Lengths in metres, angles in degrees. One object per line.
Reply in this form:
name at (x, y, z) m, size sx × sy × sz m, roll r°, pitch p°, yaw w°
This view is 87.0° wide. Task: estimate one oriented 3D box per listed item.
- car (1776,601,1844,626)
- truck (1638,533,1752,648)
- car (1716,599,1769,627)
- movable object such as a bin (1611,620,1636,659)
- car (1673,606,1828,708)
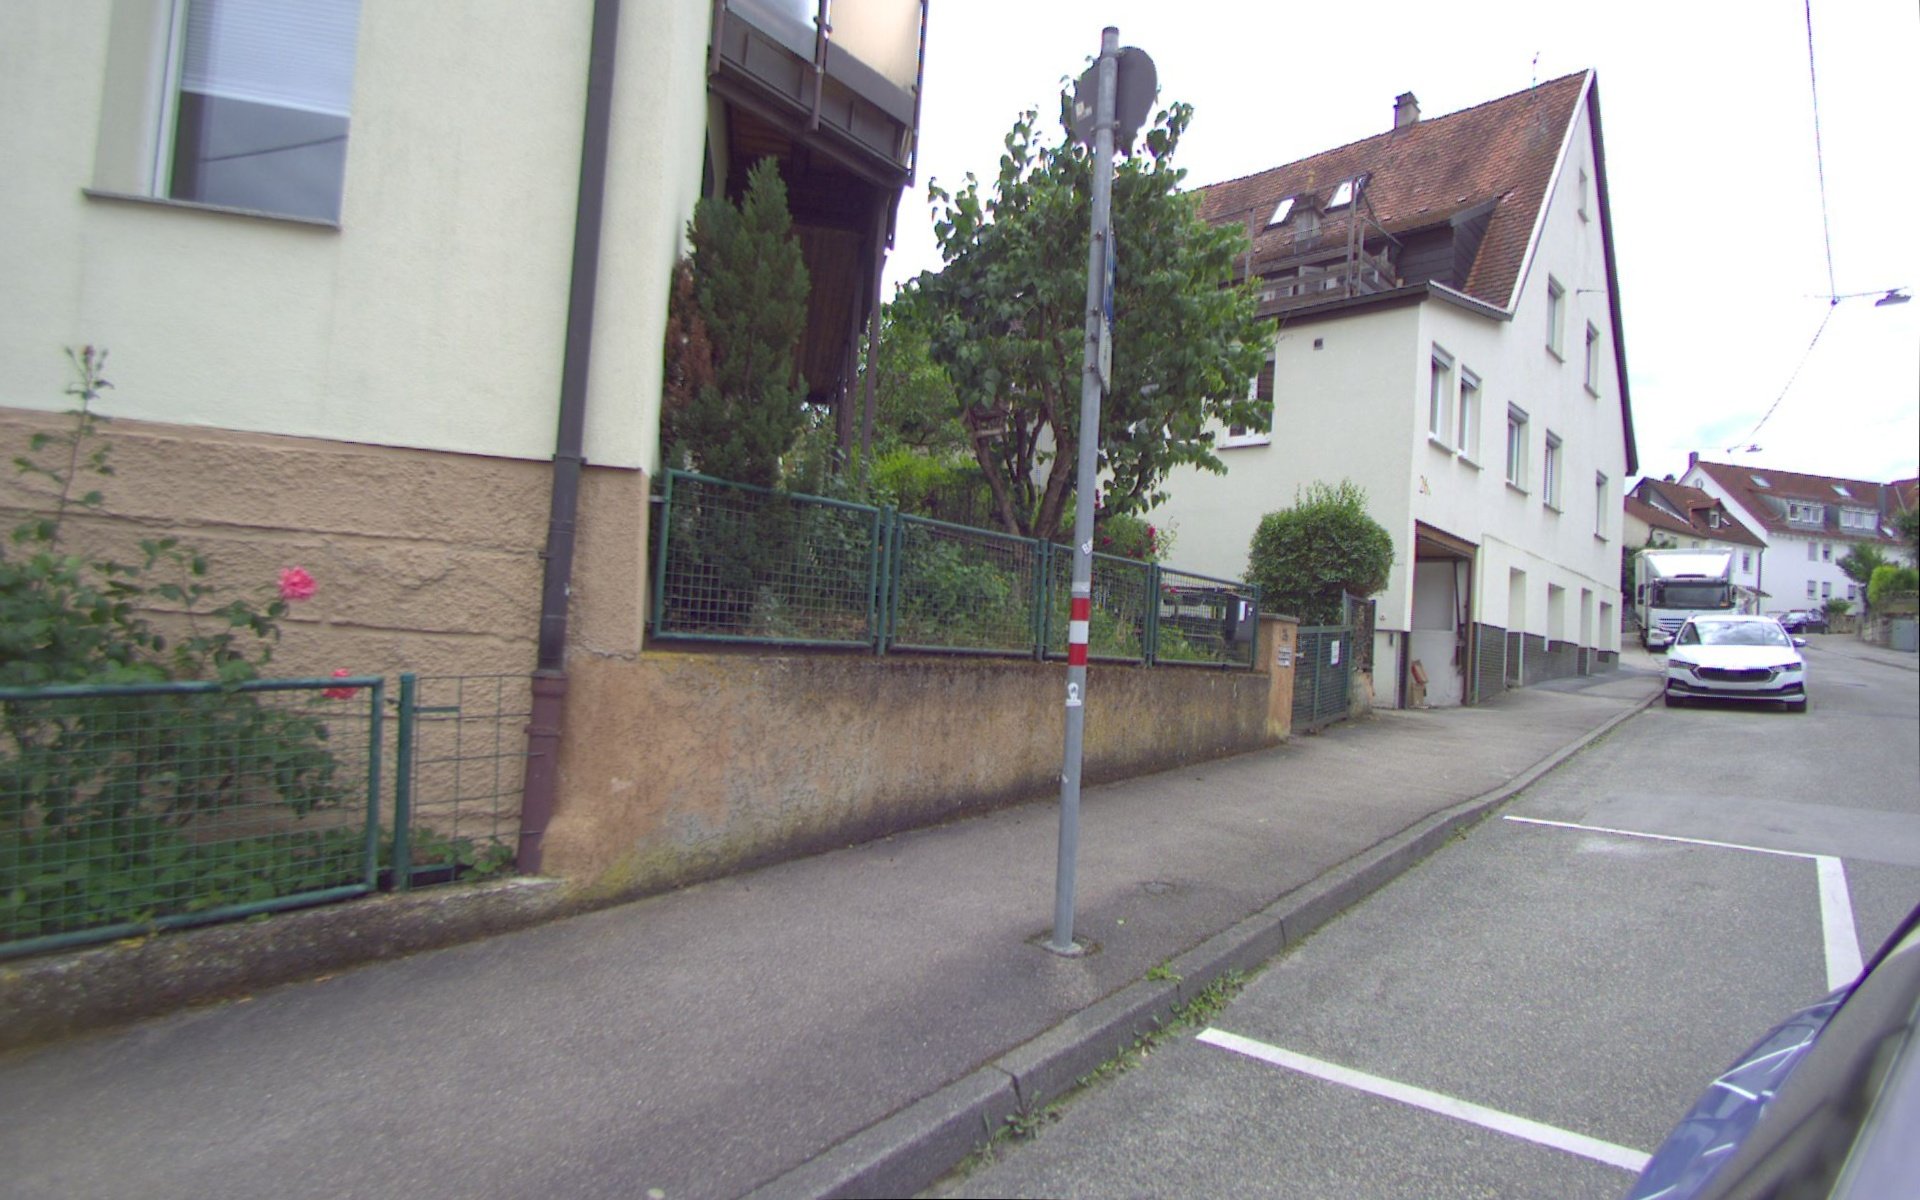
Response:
car at (52.452, 0.857, 62.441) m, size 3.920 × 1.425 × 1.726 m, roll 2°, pitch -3°, yaw -26°
truck at (26.082, -0.290, 36.232) m, size 2.664 × 3.642 × 8.011 m, roll 2°, pitch 0°, yaw 32°
car at (45.331, 0.778, 58.634) m, size 2.841 × 1.552 × 1.616 m, roll 1°, pitch -4°, yaw -35°
movable object such as a bin at (16.936, 1.000, 25.822) m, size 0.463 × 0.928 × 0.535 m, roll 5°, pitch 3°, yaw 35°
car at (12.973, 0.835, 16.717) m, size 1.790 × 1.464 × 4.239 m, roll -1°, pitch -1°, yaw 37°
